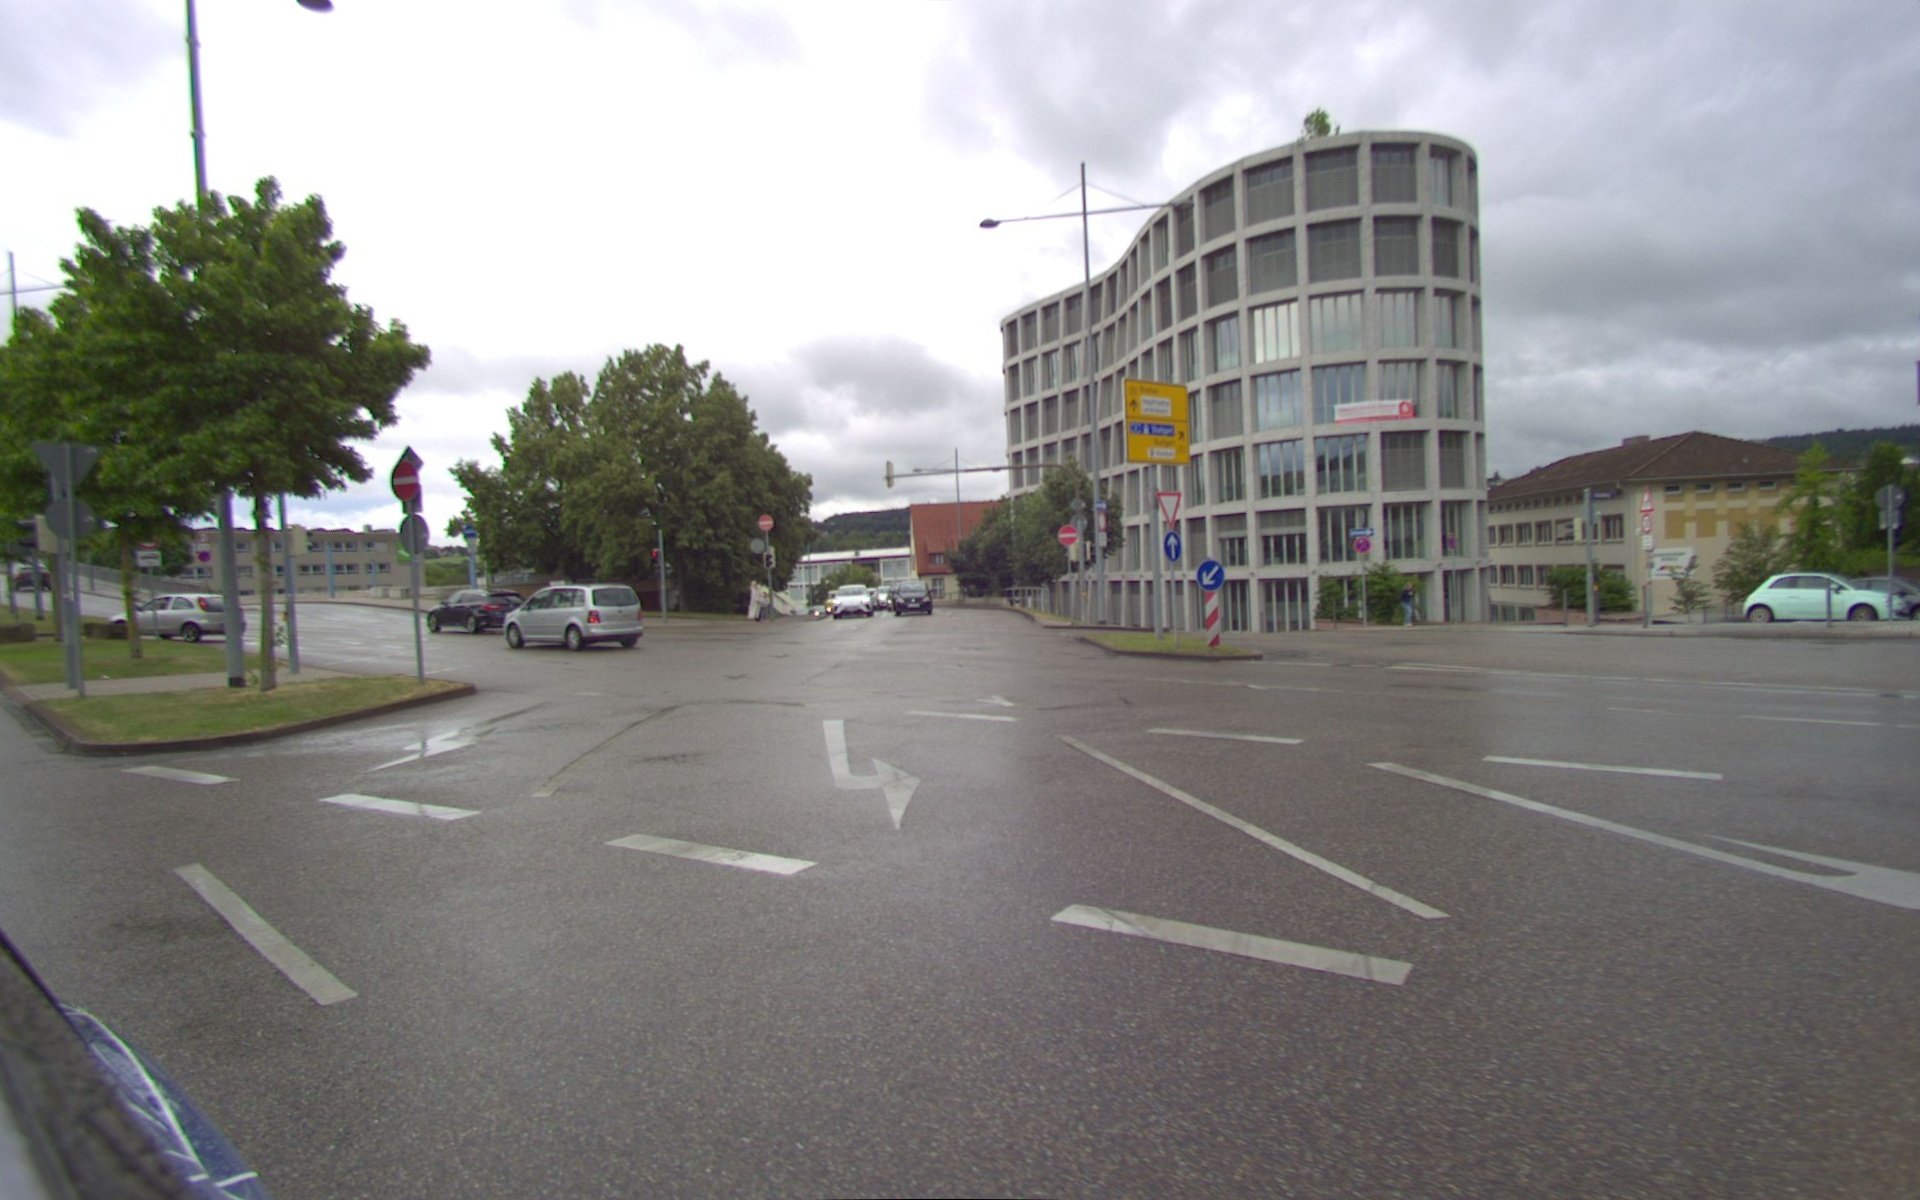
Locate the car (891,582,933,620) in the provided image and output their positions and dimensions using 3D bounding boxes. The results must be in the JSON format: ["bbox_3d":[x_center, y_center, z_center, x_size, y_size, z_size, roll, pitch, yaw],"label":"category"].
[{"bbox_3d":[-2.179,0.012,45.507,1.702,1.579,3.842,-2,1,-5],"label":"car"}]

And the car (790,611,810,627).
[{"bbox_3d":[-15.651,1.818,99.070,1.546,1.405,3.190,-2,1,-15],"label":"car"}]

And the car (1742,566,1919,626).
[{"bbox_3d":[23.802,-0.094,27.580,1.605,1.507,3.592,-2,0,-32],"label":"car"}]

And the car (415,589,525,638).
[{"bbox_3d":[-17.048,0.452,35.067,4.921,1.515,1.826,-1,1,44],"label":"car"}]

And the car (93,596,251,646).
[{"bbox_3d":[-23.966,0.626,30.832,3.832,1.459,1.632,0,1,9],"label":"car"}]

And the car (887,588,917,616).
[{"bbox_3d":[-3.541,0.123,61.188,1.702,1.579,3.842,-2,1,-5],"label":"car"}]

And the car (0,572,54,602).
[{"bbox_3d":[-59.353,-0.852,64.334,4.854,1.674,1.889,3,4,40],"label":"car"}]

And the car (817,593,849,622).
[{"bbox_3d":[-7.934,0.422,62.862,1.700,1.711,3.660,-2,1,-10],"label":"car"}]

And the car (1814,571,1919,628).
[{"bbox_3d":[25.885,-0.032,27.612,1.605,1.507,3.592,-2,0,-32],"label":"car"}]

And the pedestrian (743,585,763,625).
[{"bbox_3d":[-8.393,0.196,41.004,0.642,1.582,0.633,0,1,-26],"label":"pedestrian"}]

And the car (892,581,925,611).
[{"bbox_3d":[-2.926,-0.236,56.899,1.702,1.579,3.842,-2,1,-5],"label":"car"}]

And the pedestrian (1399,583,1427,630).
[{"bbox_3d":[15.850,0.227,35.395,0.705,1.595,0.664,0,2,41],"label":"pedestrian"}]

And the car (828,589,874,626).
[{"bbox_3d":[-5.018,0.296,47.054,1.860,1.579,4.144,-2,1,-3],"label":"car"}]

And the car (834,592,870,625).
[{"bbox_3d":[-5.530,0.412,51.758,1.701,1.519,4.062,-2,1,-6],"label":"car"}]

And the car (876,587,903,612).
[{"bbox_3d":[-4.641,-0.060,66.107,1.702,1.579,3.842,-2,1,-5],"label":"car"}]

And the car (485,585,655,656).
[{"bbox_3d":[-10.064,0.508,26.047,4.406,1.665,1.833,-1,1,33],"label":"car"}]

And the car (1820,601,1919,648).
[{"bbox_3d":[30.842,0.797,33.731,3.523,1.361,1.487,-2,1,-13],"label":"car"}]

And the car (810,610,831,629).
[{"bbox_3d":[-12.654,1.727,91.970,1.547,1.563,3.189,-2,1,-13],"label":"car"}]
